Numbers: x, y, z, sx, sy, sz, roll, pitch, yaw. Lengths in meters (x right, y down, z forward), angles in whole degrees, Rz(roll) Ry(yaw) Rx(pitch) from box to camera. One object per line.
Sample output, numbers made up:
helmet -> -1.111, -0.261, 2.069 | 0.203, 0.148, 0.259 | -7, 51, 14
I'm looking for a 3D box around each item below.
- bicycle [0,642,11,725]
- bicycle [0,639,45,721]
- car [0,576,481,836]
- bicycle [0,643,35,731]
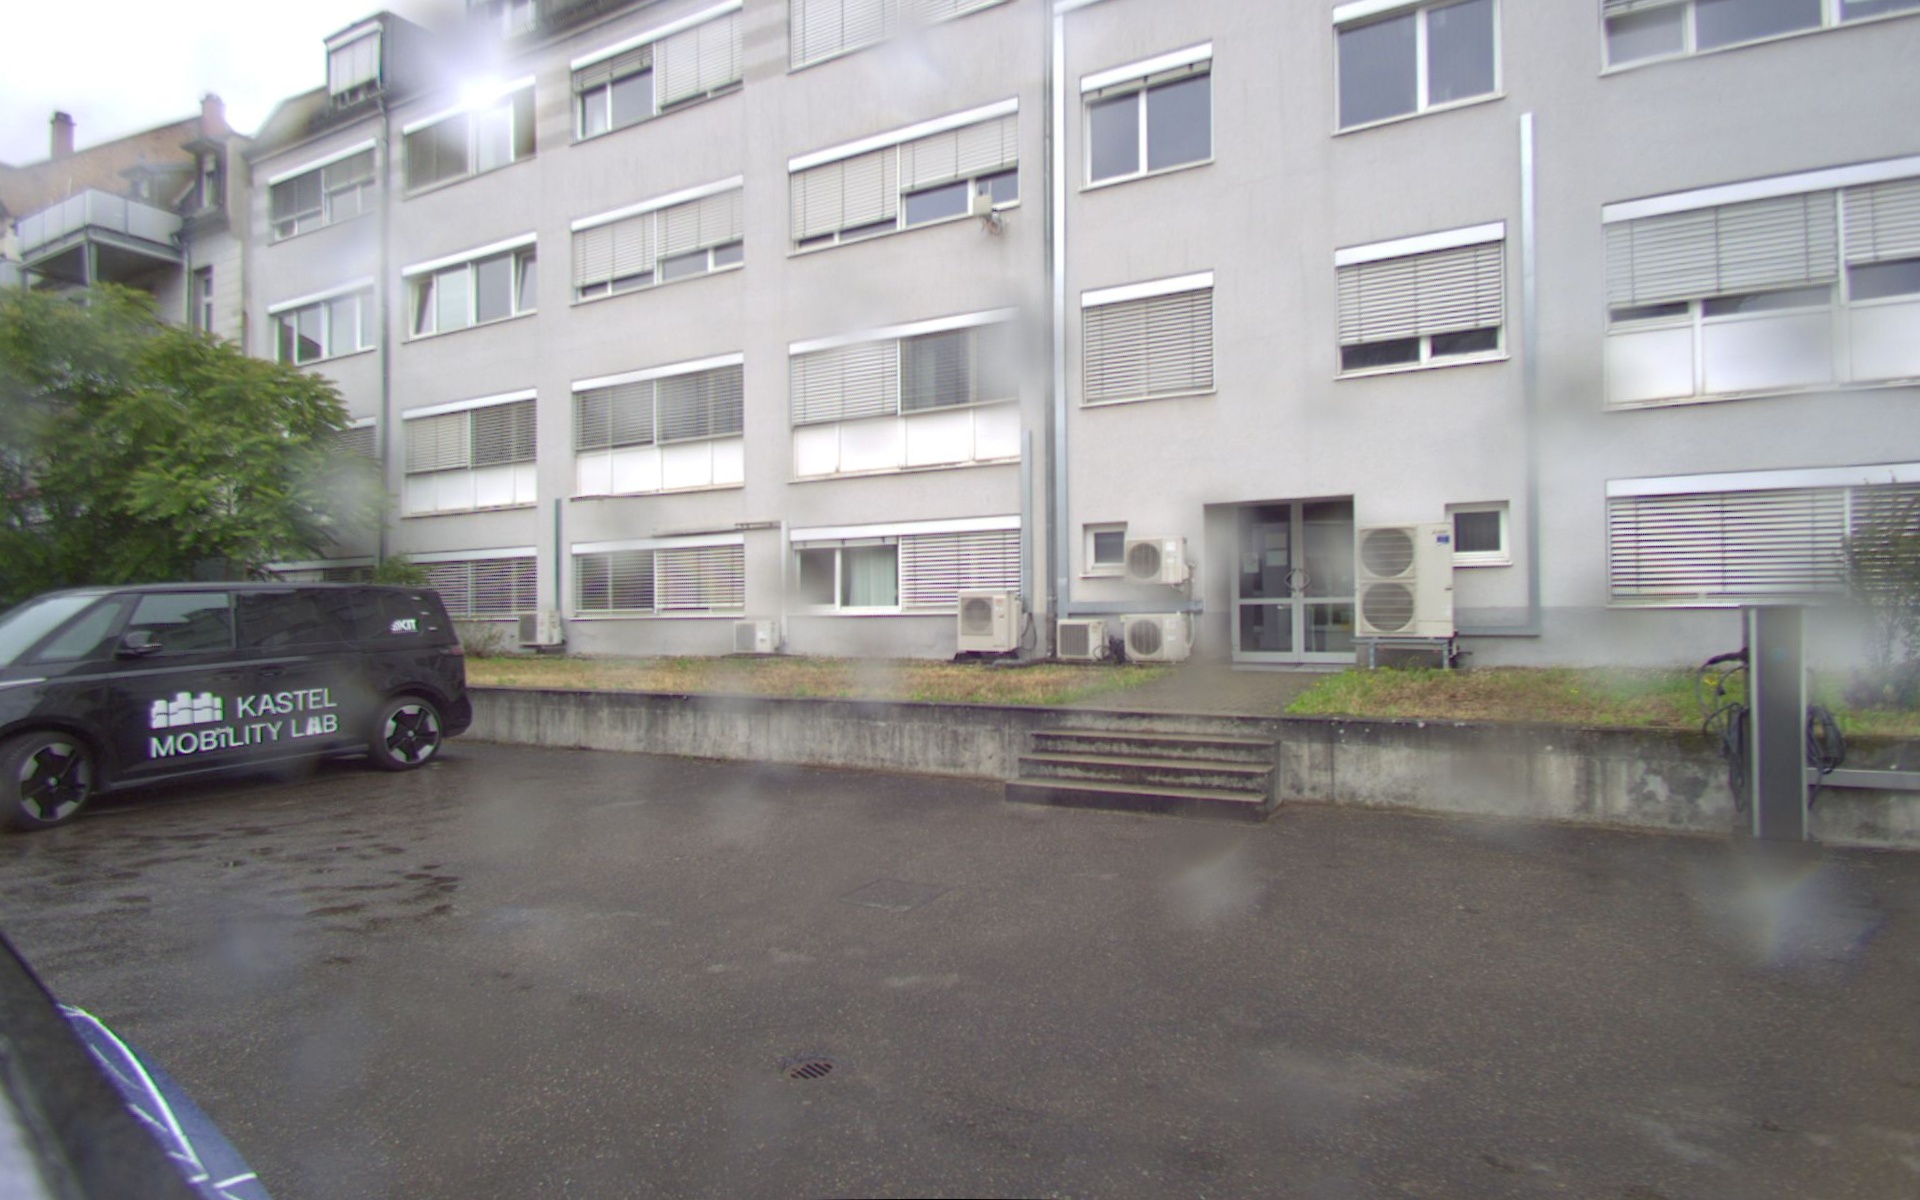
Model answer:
bicycle -> -14.820, 1.210, 14.056 | 0.642, 1.195, 2.294 | 1, 0, 34
bicycle -> -15.063, 1.205, 14.886 | 0.642, 1.195, 2.294 | 1, 0, 34
car -> -7.007, 0.813, 9.166 | 1.978, 1.851, 4.590 | -3, -2, 26
bicycle -> -14.119, 1.225, 13.672 | 0.642, 1.195, 2.294 | 1, 0, 34
